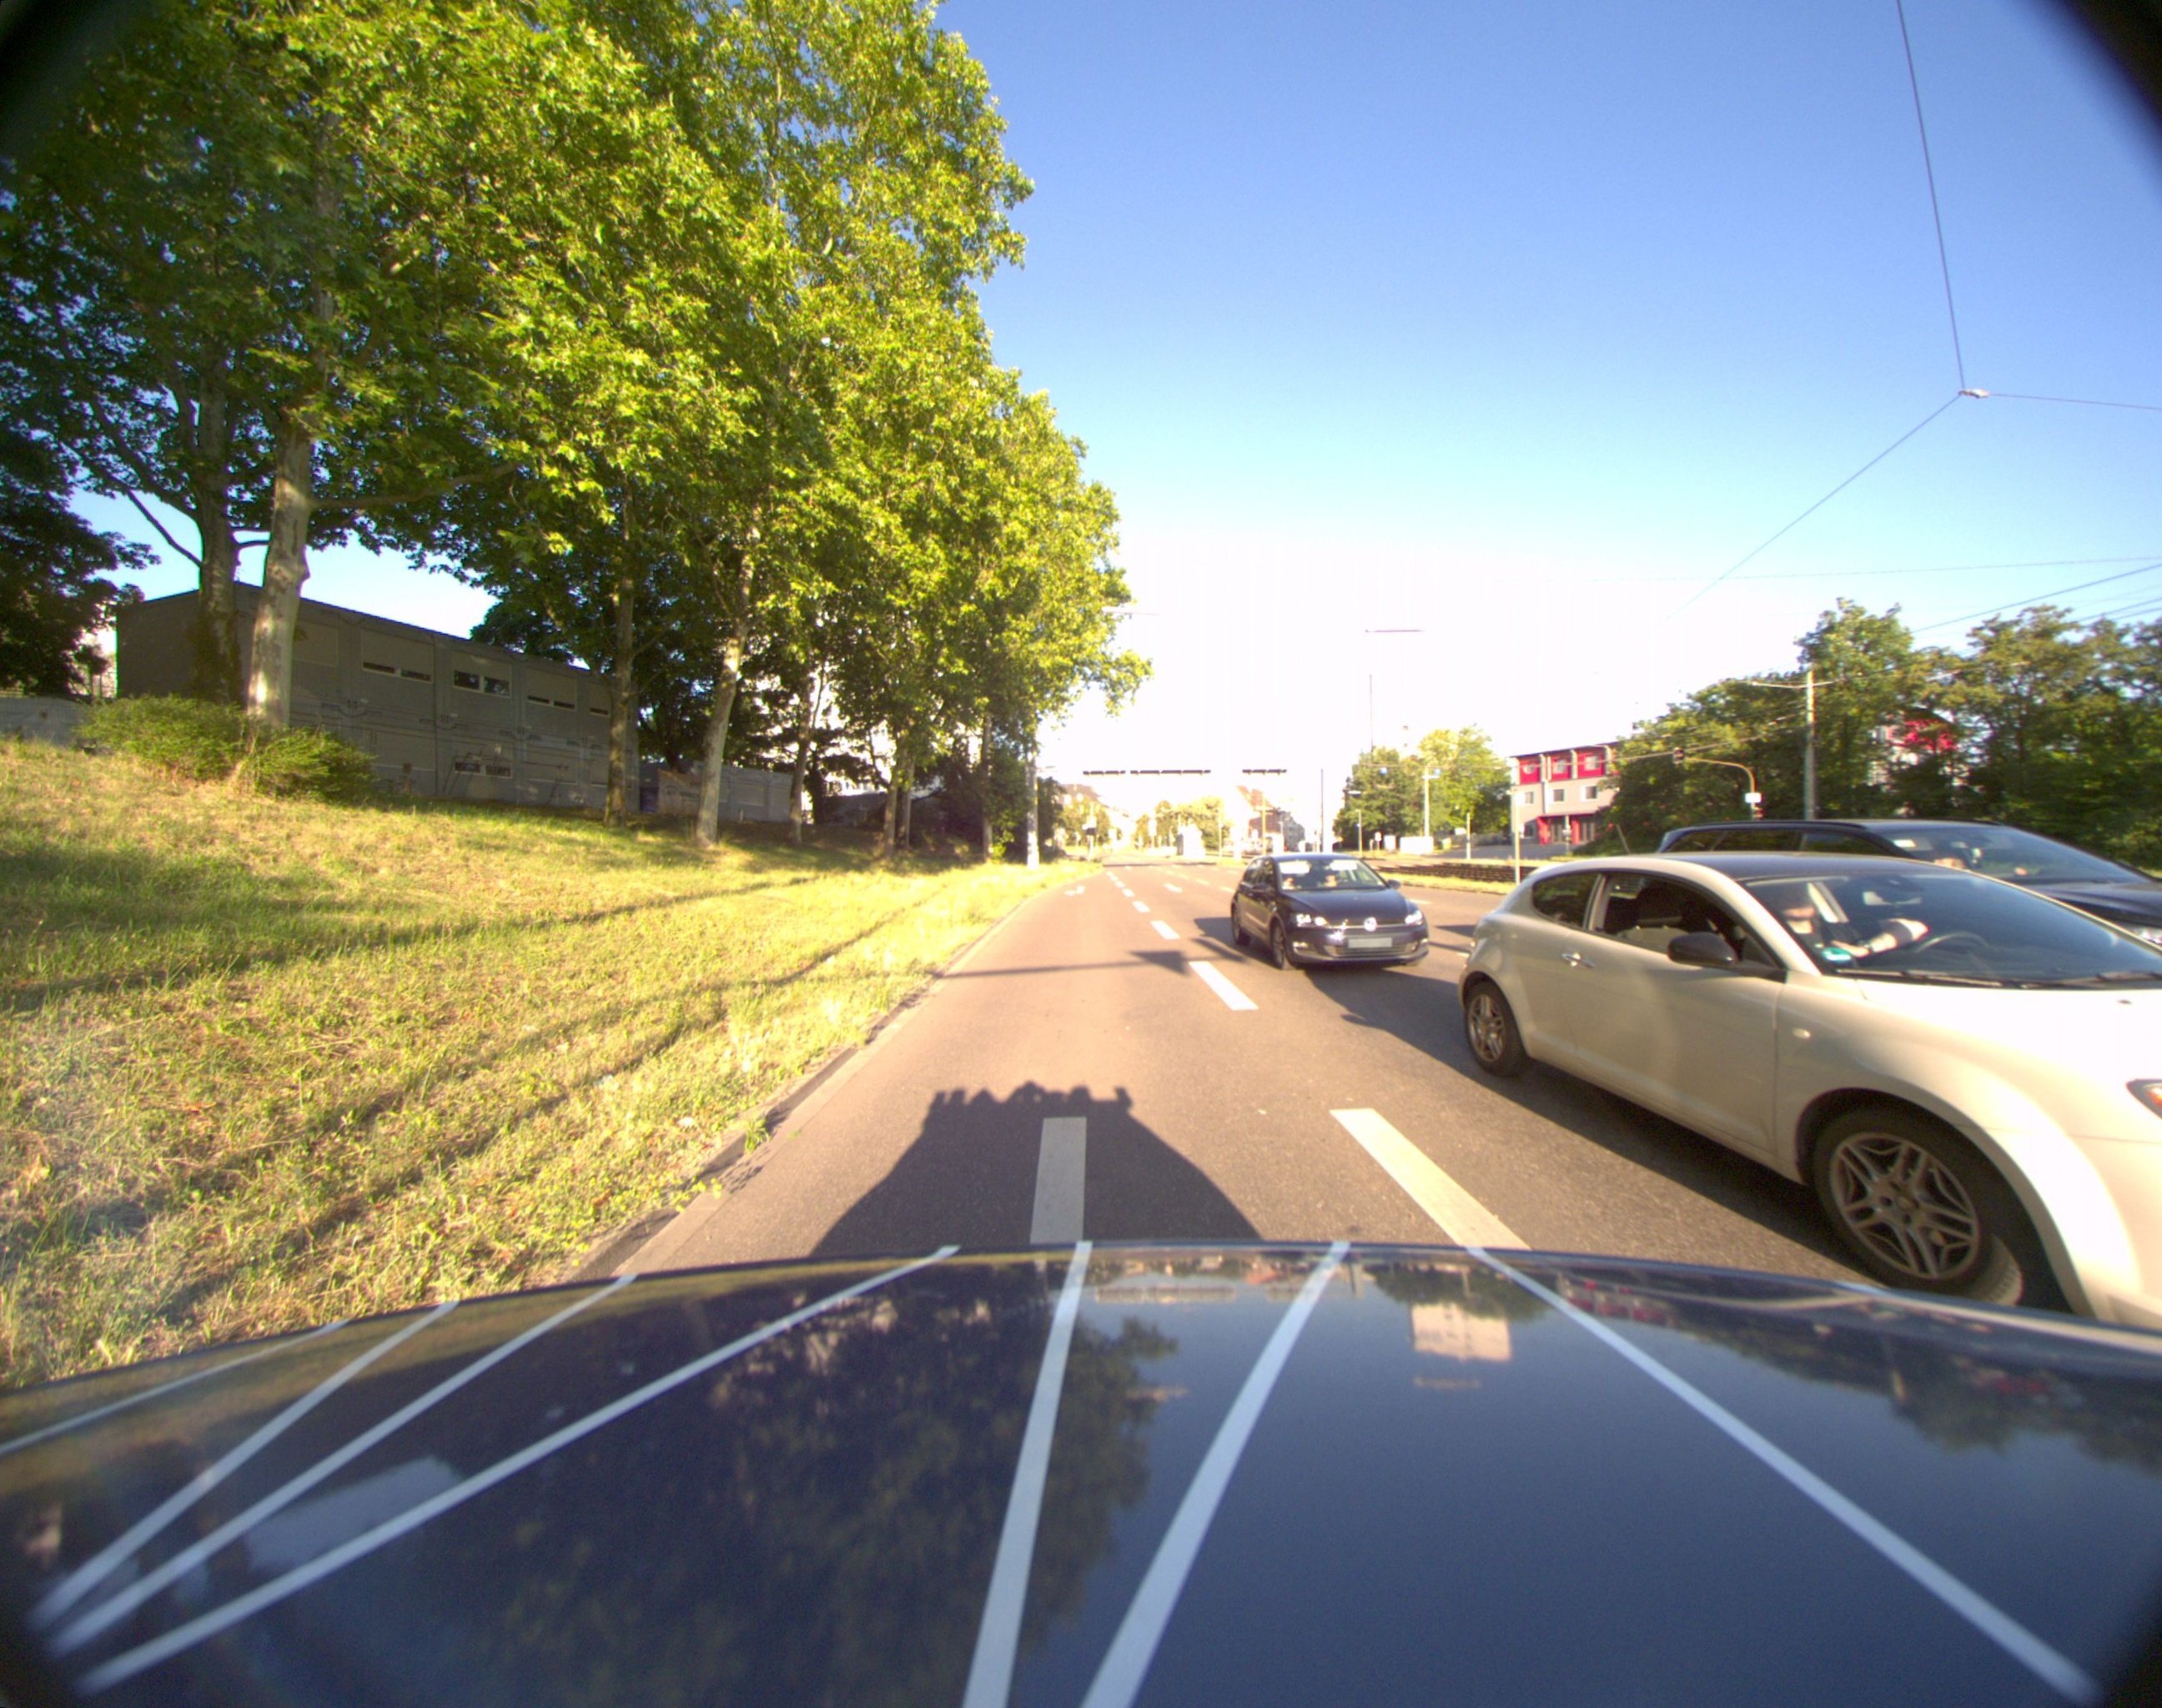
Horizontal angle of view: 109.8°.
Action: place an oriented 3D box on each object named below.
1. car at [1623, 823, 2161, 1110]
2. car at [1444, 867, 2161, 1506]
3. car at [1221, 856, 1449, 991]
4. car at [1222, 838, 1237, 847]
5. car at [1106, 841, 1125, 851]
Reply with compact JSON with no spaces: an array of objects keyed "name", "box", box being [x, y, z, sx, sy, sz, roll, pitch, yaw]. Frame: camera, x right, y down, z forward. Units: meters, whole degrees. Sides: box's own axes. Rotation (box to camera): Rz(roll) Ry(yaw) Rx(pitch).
[{"name":"car","box":[7.231,0.604,6.582,1.920,1.639,4.602,-1,0,2]},{"name":"car","box":[3.425,0.841,3.414,1.665,1.422,3.923,-2,0,-1]},{"name":"car","box":[3.206,0.786,10.459,1.782,1.422,3.923,-2,0,-1]},{"name":"car","box":[33.182,-2.540,169.757,1.995,2.002,4.007,-2,1,33]},{"name":"car","box":[6.845,-1.521,150.389,1.995,1.807,4.007,-2,1,31]}]
